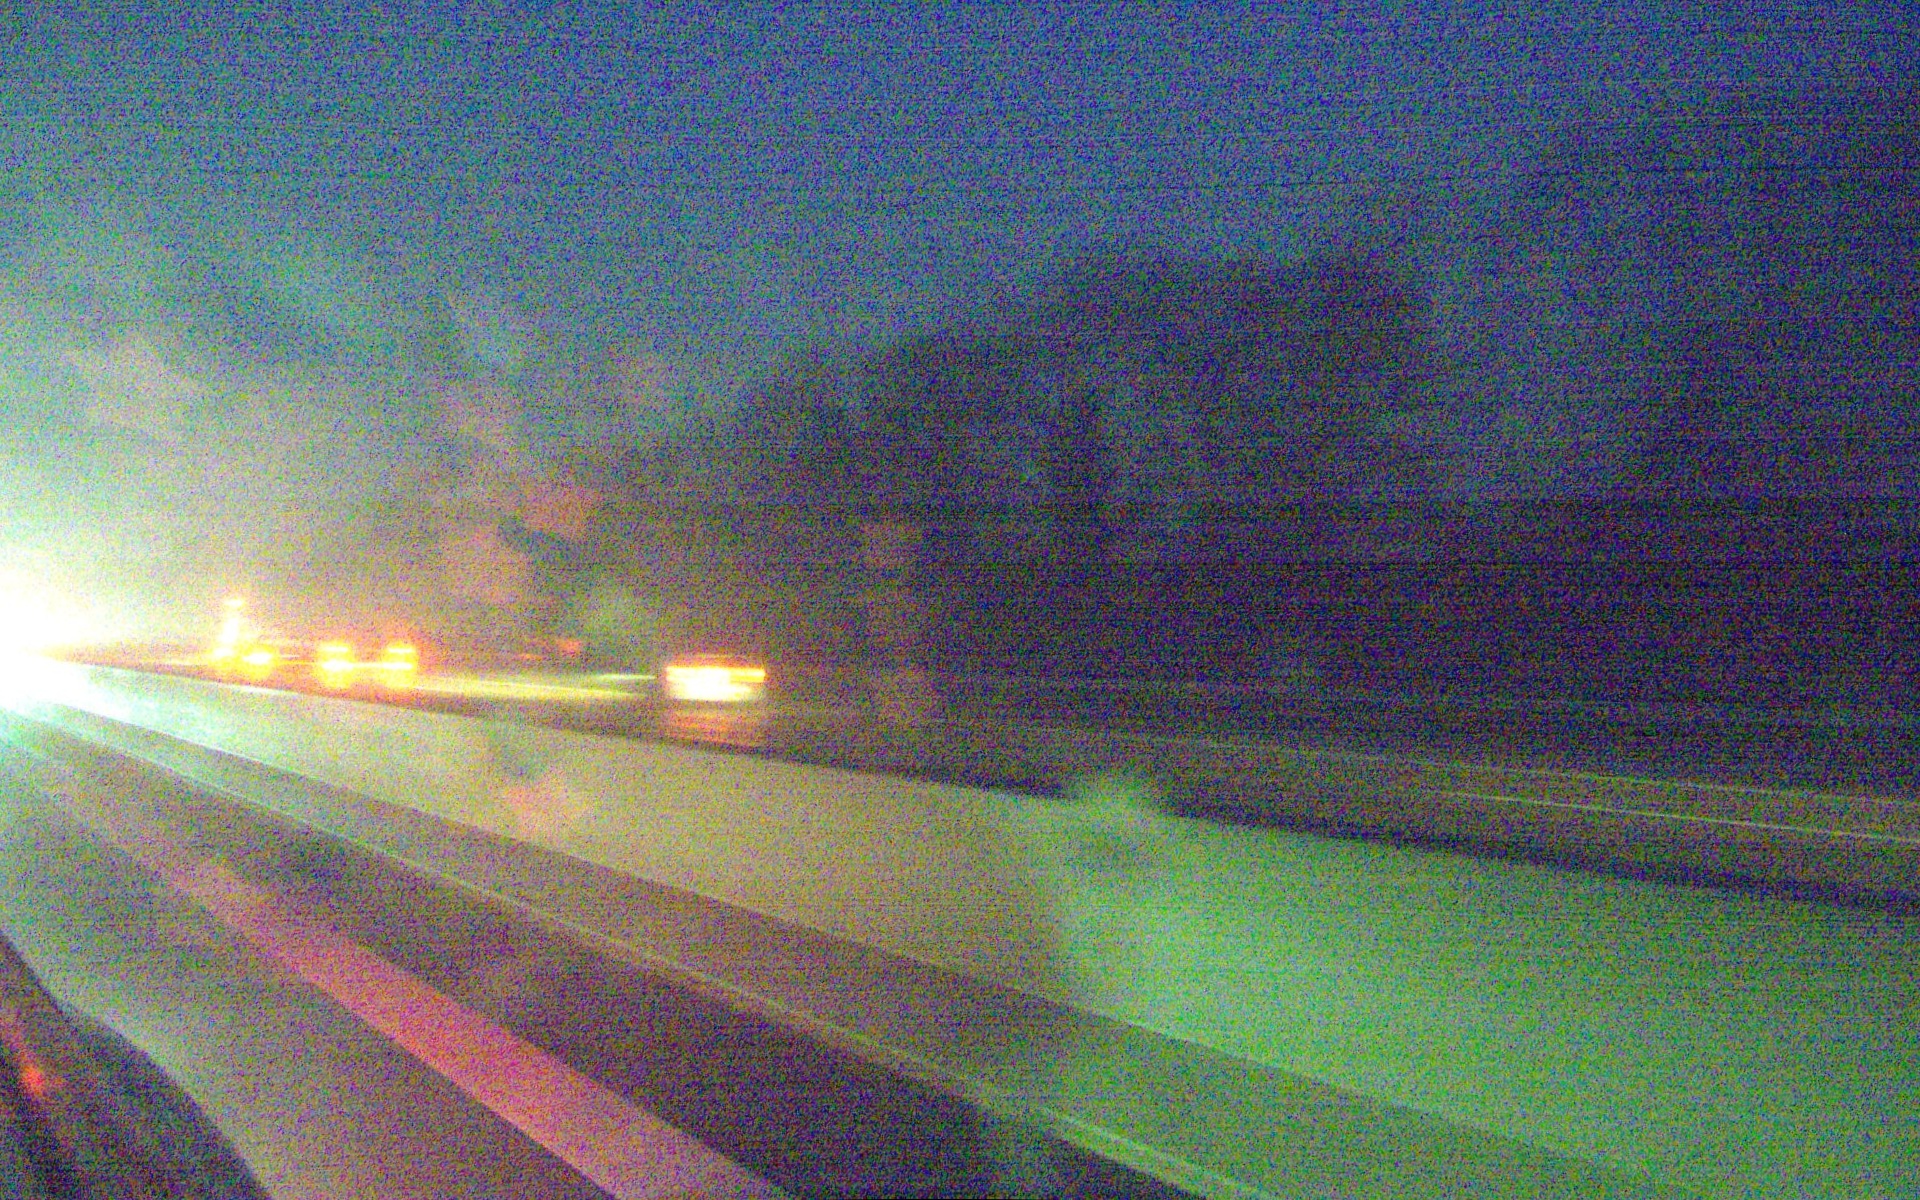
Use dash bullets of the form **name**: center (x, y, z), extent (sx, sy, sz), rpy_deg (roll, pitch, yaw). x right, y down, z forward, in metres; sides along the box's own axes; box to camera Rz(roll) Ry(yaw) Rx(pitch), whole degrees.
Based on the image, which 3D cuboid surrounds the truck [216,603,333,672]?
- **truck**: center (-36.019, 1.987, 53.019), extent (8.340, 3.321, 3.042), rpy_deg (-2, -3, 42)

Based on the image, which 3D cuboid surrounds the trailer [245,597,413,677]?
- **trailer**: center (-29.925, 1.778, 47.570), extent (13.151, 3.321, 3.042), rpy_deg (-2, -3, 42)

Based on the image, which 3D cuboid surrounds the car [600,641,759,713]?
- **car**: center (-7.645, 2.015, 27.406), extent (4.502, 1.697, 1.897), rpy_deg (0, -3, 40)
